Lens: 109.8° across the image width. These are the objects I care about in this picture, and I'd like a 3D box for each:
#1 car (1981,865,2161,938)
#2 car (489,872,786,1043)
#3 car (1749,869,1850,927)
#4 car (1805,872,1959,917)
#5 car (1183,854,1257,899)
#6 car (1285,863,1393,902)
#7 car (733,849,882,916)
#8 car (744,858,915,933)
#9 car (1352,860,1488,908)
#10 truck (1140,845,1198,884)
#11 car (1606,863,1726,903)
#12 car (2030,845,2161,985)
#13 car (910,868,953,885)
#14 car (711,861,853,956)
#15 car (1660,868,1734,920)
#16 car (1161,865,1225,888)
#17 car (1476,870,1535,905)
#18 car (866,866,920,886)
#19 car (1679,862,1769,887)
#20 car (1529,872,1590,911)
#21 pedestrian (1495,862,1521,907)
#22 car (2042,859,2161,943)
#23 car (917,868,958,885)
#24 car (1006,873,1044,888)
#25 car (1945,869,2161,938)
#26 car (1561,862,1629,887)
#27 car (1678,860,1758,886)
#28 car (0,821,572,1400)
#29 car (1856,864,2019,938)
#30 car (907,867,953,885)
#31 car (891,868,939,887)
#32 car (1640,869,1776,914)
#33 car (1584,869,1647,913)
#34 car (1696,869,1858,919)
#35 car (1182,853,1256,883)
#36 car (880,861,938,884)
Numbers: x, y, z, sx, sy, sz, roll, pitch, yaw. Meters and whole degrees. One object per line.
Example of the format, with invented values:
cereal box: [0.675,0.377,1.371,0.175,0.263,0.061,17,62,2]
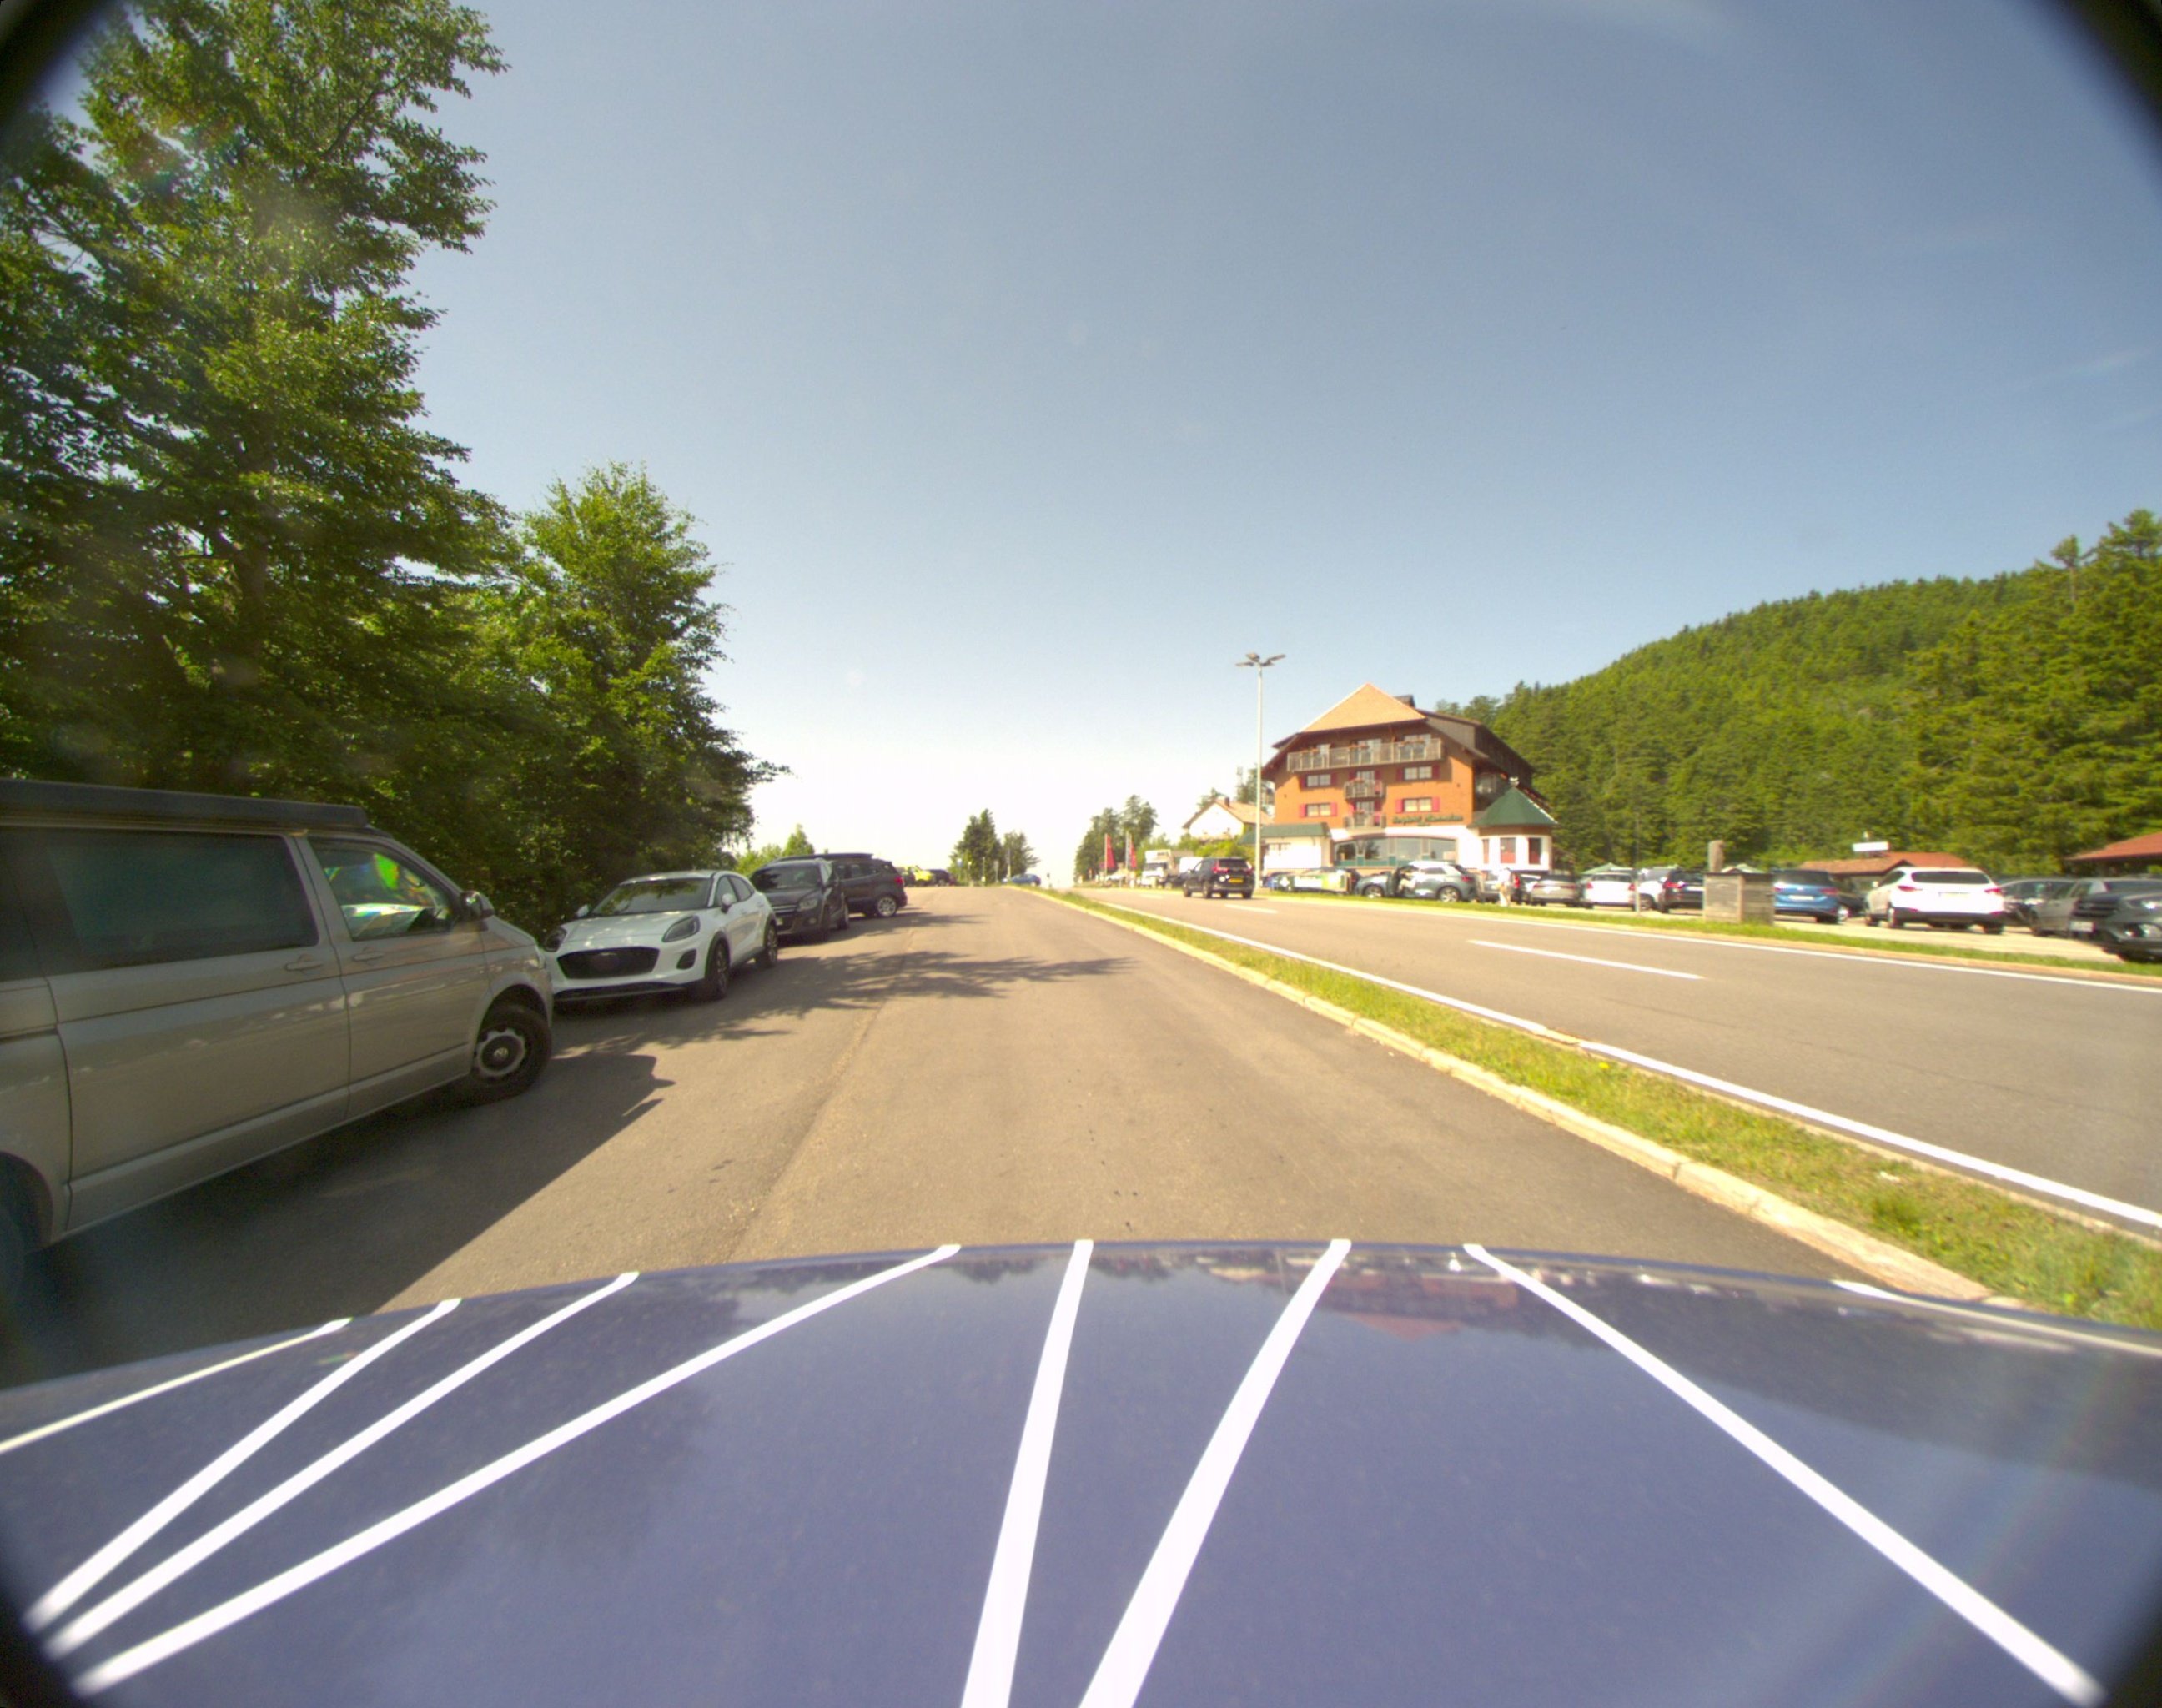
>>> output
car: [25.778,1.144,18.839,4.083,1.705,1.925,0,0,35]
car: [-5.247,1.082,9.696,1.876,1.538,3.997,-3,0,-9]
car: [22.262,1.290,23.690,1.819,1.619,4.104,1,0,37]
car: [33.564,1.641,32.013,4.083,1.705,1.924,0,0,32]
car: [5.521,0.861,30.665,1.722,1.672,4.127,0,0,-8]
car: [11.559,1.236,34.144,4.259,1.619,1.828,0,0,34]
car: [-9.284,0.923,25.863,4.466,1.914,1.872,-3,0,-28]
car: [-6.702,1.035,20.307,4.005,1.609,1.872,-3,0,-28]
car: [12.358,1.039,27.770,4.259,1.619,1.828,0,0,34]
truck: [9.513,1.116,80.991,2.877,3.798,9.035,-2,-1,29]
car: [25.772,1.229,33.659,4.083,1.619,1.828,0,0,34]
car: [14.762,0.744,8.707,4.539,1.646,1.726,0,0,33]
car: [-14.158,2.114,72.063,3.912,1.605,1.875,0,0,-6]
car: [-6.053,1.009,15.886,1.876,1.609,3.997,-3,0,-9]
car: [21.082,1.302,26.129,1.819,1.619,4.104,1,0,37]
car: [7.999,1.581,54.243,4.083,1.518,1.828,0,0,30]
car: [19.647,1.500,35.108,1.819,1.504,4.104,1,0,37]
car: [-14.939,1.745,60.455,3.912,1.605,1.875,0,0,-6]
car: [46.817,1.460,55.494,4.832,1.705,1.925,0,0,35]
car: [20.460,1.538,32.420,1.819,1.504,4.104,1,0,37]
pedestrian: [15.753,1.114,28.065,0.744,1.615,0.684,0,0,21]
car: [23.528,0.978,15.745,4.083,1.705,1.925,0,0,35]
car: [-14.311,2.264,76.131,3.912,1.605,1.875,0,0,-6]
car: [-5.909,2.788,80.399,3.910,1.605,1.876,0,0,0]
car: [27.251,1.301,20.986,4.083,1.705,1.924,0,0,32]
car: [37.722,1.501,55.809,4.083,1.705,1.925,0,0,35]
car: [43.955,1.310,52.518,4.083,1.705,1.925,0,0,35]
car: [-4.654,0.912,3.407,1.862,1.924,4.607,-4,0,-5]
car: [22.223,1.125,19.922,1.915,1.705,4.104,1,0,35]
car: [-13.768,1.991,69.484,3.912,1.605,1.875,0,0,-6]
car: [-14.499,2.047,66.511,3.912,1.605,1.875,0,0,-6]
car: [25.138,1.453,30.672,4.083,1.619,1.828,0,0,34]
car: [20.414,1.355,28.974,1.819,1.504,4.104,1,0,37]
car: [25.022,1.383,27.542,4.083,1.619,1.828,0,0,34]
car: [13.468,1.357,74.110,6.954,2.774,2.669,0,0,10]
car: [-14.277,1.535,63.295,4.459,1.914,1.875,0,0,-6]
